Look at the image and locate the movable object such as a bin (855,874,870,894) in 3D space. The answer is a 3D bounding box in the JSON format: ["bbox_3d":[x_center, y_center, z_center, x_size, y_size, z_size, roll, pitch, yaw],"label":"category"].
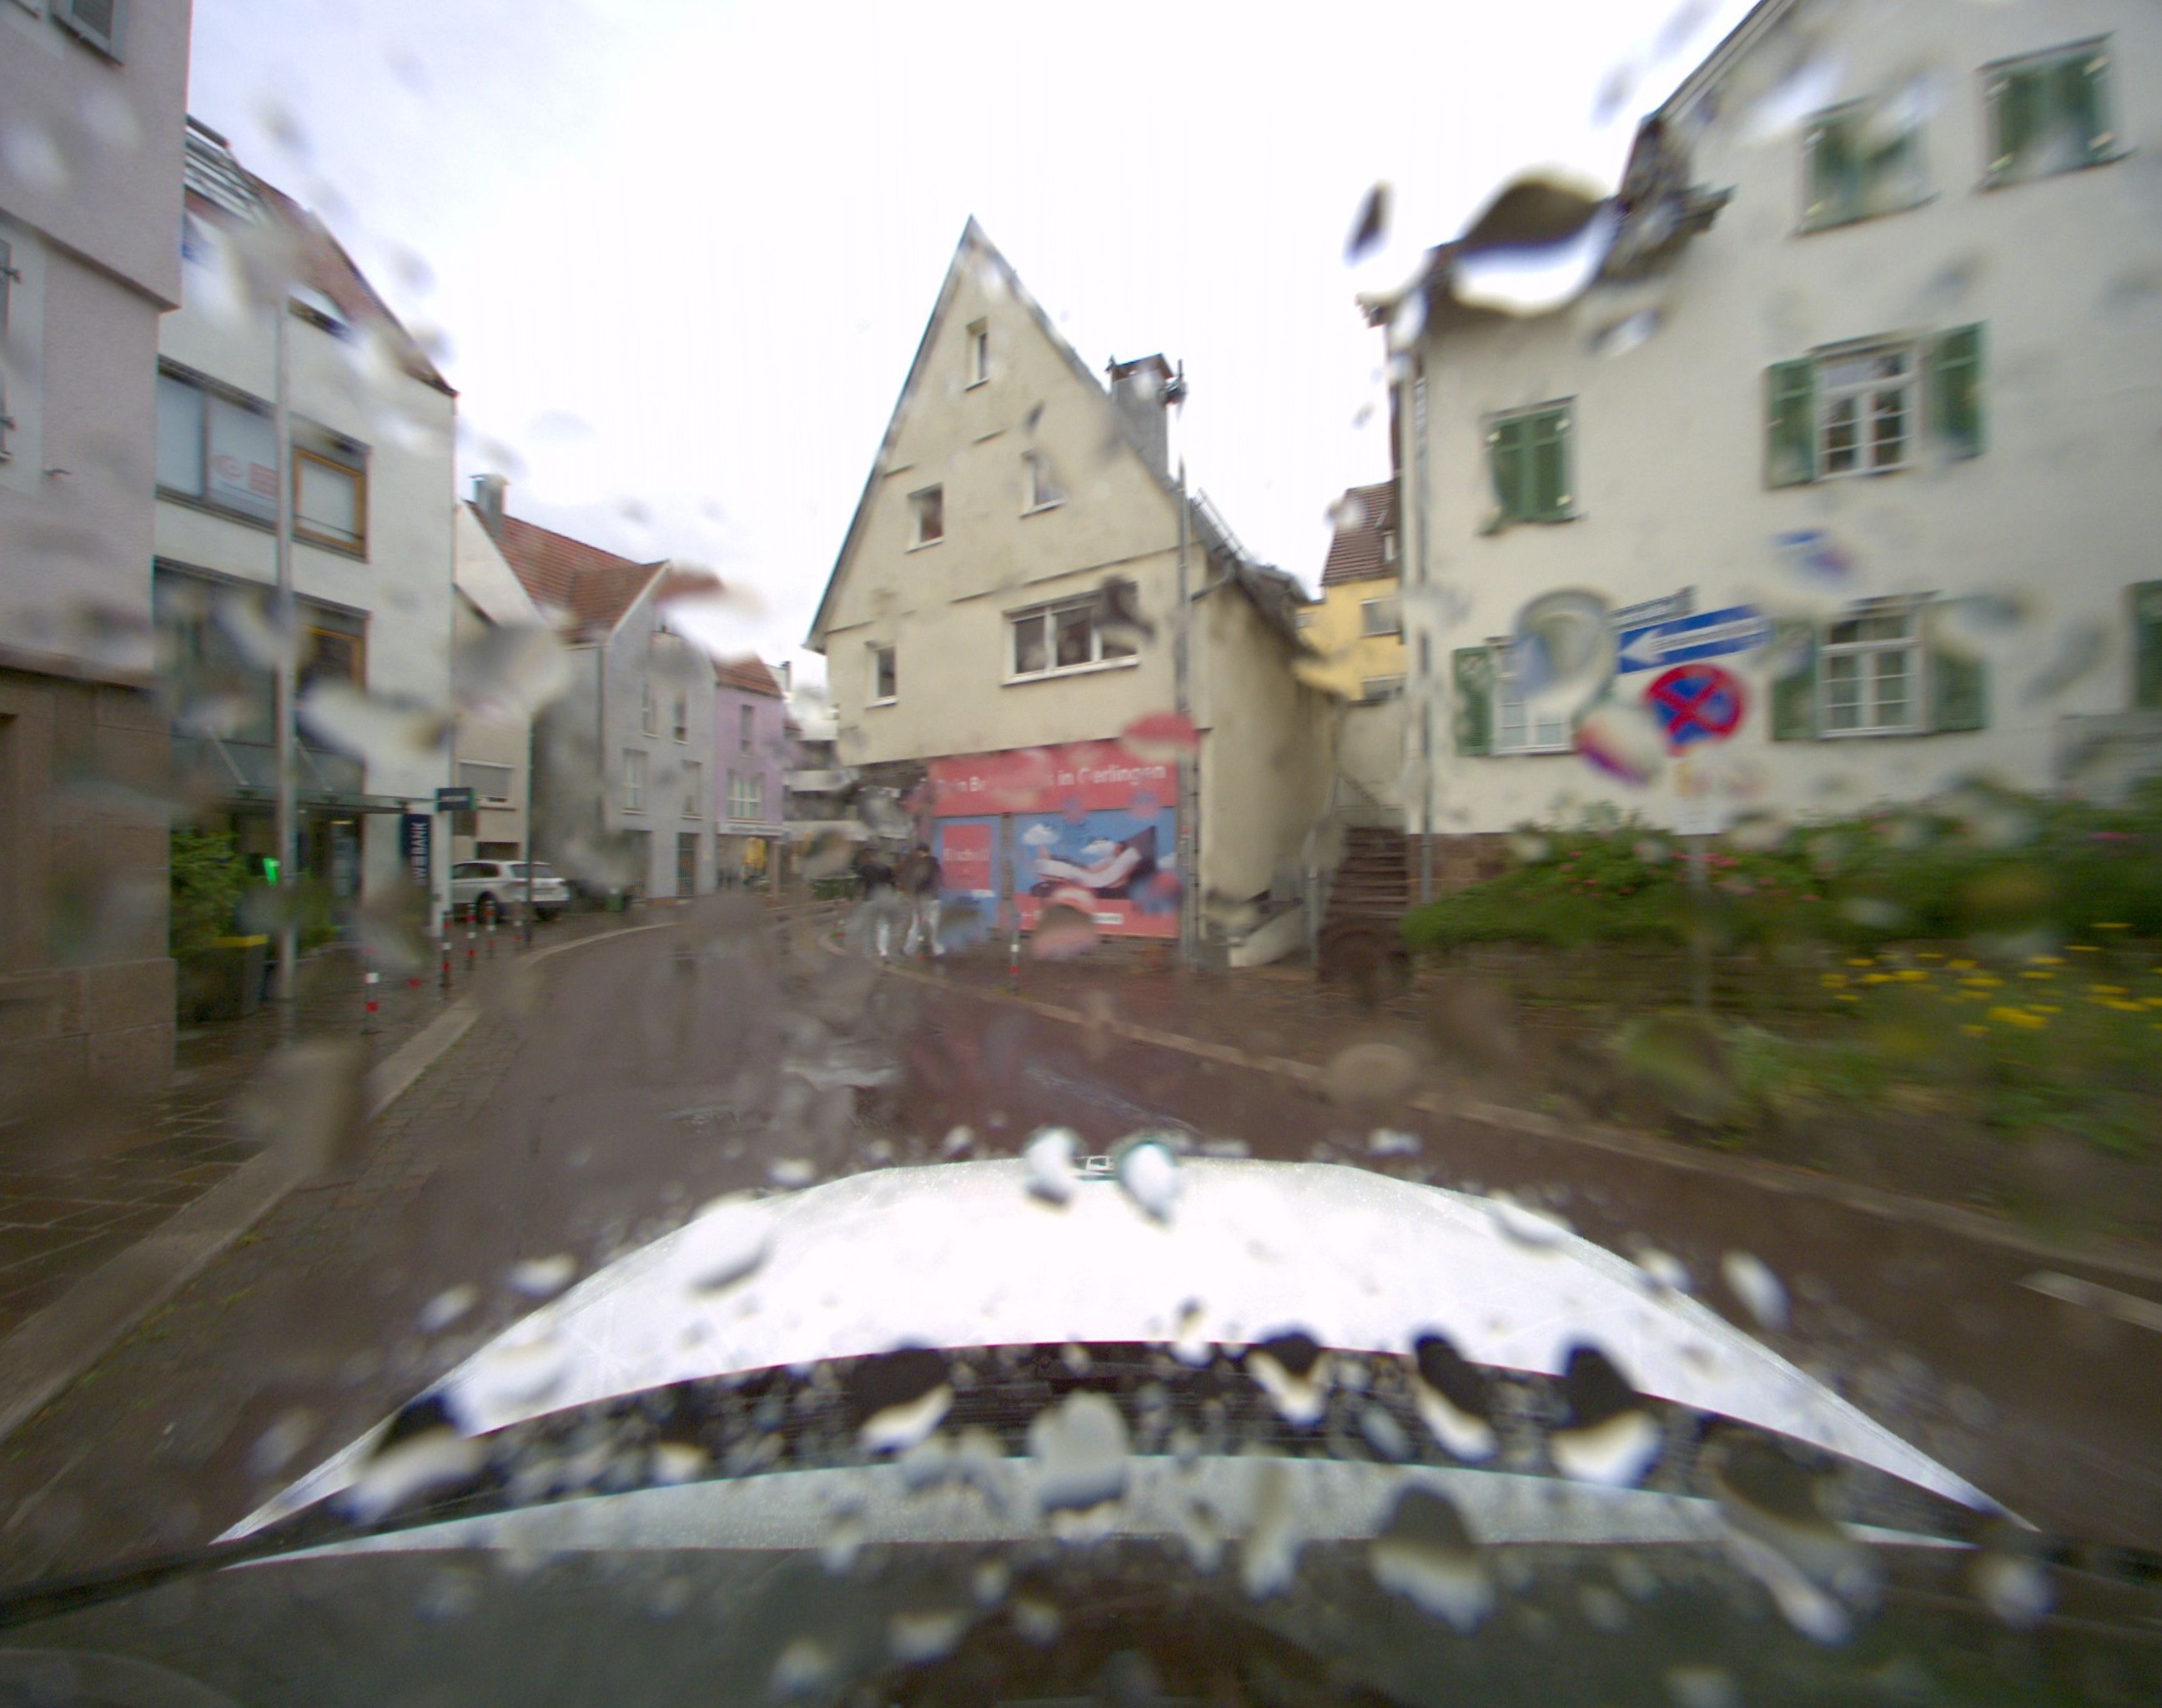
[{"bbox_3d":[-12.202,1.680,45.424,0.630,1.128,0.578,-1,-2,5],"label":"movable object such as a bin"}]

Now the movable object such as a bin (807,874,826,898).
[{"bbox_3d":[-12.532,1.527,38.578,0.630,1.128,0.578,-1,-2,5],"label":"movable object such as a bin"}]

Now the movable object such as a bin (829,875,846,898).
[{"bbox_3d":[-12.333,1.644,41.192,0.630,1.128,0.578,-1,-2,5],"label":"movable object such as a bin"}]

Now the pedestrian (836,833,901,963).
[{"bbox_3d":[-3.407,0.695,13.089,0.751,2.014,0.657,-2,-2,35],"label":"pedestrian"}]

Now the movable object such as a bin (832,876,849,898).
[{"bbox_3d":[-12.387,1.693,41.968,0.630,1.128,0.578,-1,-2,5],"label":"movable object such as a bin"}]

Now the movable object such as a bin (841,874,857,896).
[{"bbox_3d":[-12.374,1.661,43.449,0.630,1.128,0.578,-1,-2,5],"label":"movable object such as a bin"}]

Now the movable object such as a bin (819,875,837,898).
[{"bbox_3d":[-12.432,1.589,40.054,0.630,1.128,0.578,-1,-2,5],"label":"movable object such as a bin"}]

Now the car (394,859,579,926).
[{"bbox_3d":[-15.909,0.994,21.843,3.955,1.676,2.009,0,-1,17],"label":"car"}]

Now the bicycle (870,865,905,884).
[{"bbox_3d":[-14.242,1.525,59.883,2.287,1.314,1.013,-2,-2,10],"label":"bicycle"}]

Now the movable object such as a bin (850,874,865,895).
[{"bbox_3d":[-12.280,1.683,44.802,0.630,1.128,0.578,-1,-2,5],"label":"movable object such as a bin"}]

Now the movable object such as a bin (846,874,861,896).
[{"bbox_3d":[-12.309,1.676,44.084,0.630,1.128,0.578,-1,-2,5],"label":"movable object such as a bin"}]

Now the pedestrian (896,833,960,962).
[{"bbox_3d":[-2.474,0.689,13.163,0.751,2.014,0.657,-2,-2,35],"label":"pedestrian"}]

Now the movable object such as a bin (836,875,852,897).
[{"bbox_3d":[-12.443,1.655,42.722,0.630,1.128,0.578,-1,-2,5],"label":"movable object such as a bin"}]

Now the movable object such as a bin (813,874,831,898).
[{"bbox_3d":[-12.482,1.551,39.279,0.630,1.128,0.578,-1,-2,5],"label":"movable object such as a bin"}]
